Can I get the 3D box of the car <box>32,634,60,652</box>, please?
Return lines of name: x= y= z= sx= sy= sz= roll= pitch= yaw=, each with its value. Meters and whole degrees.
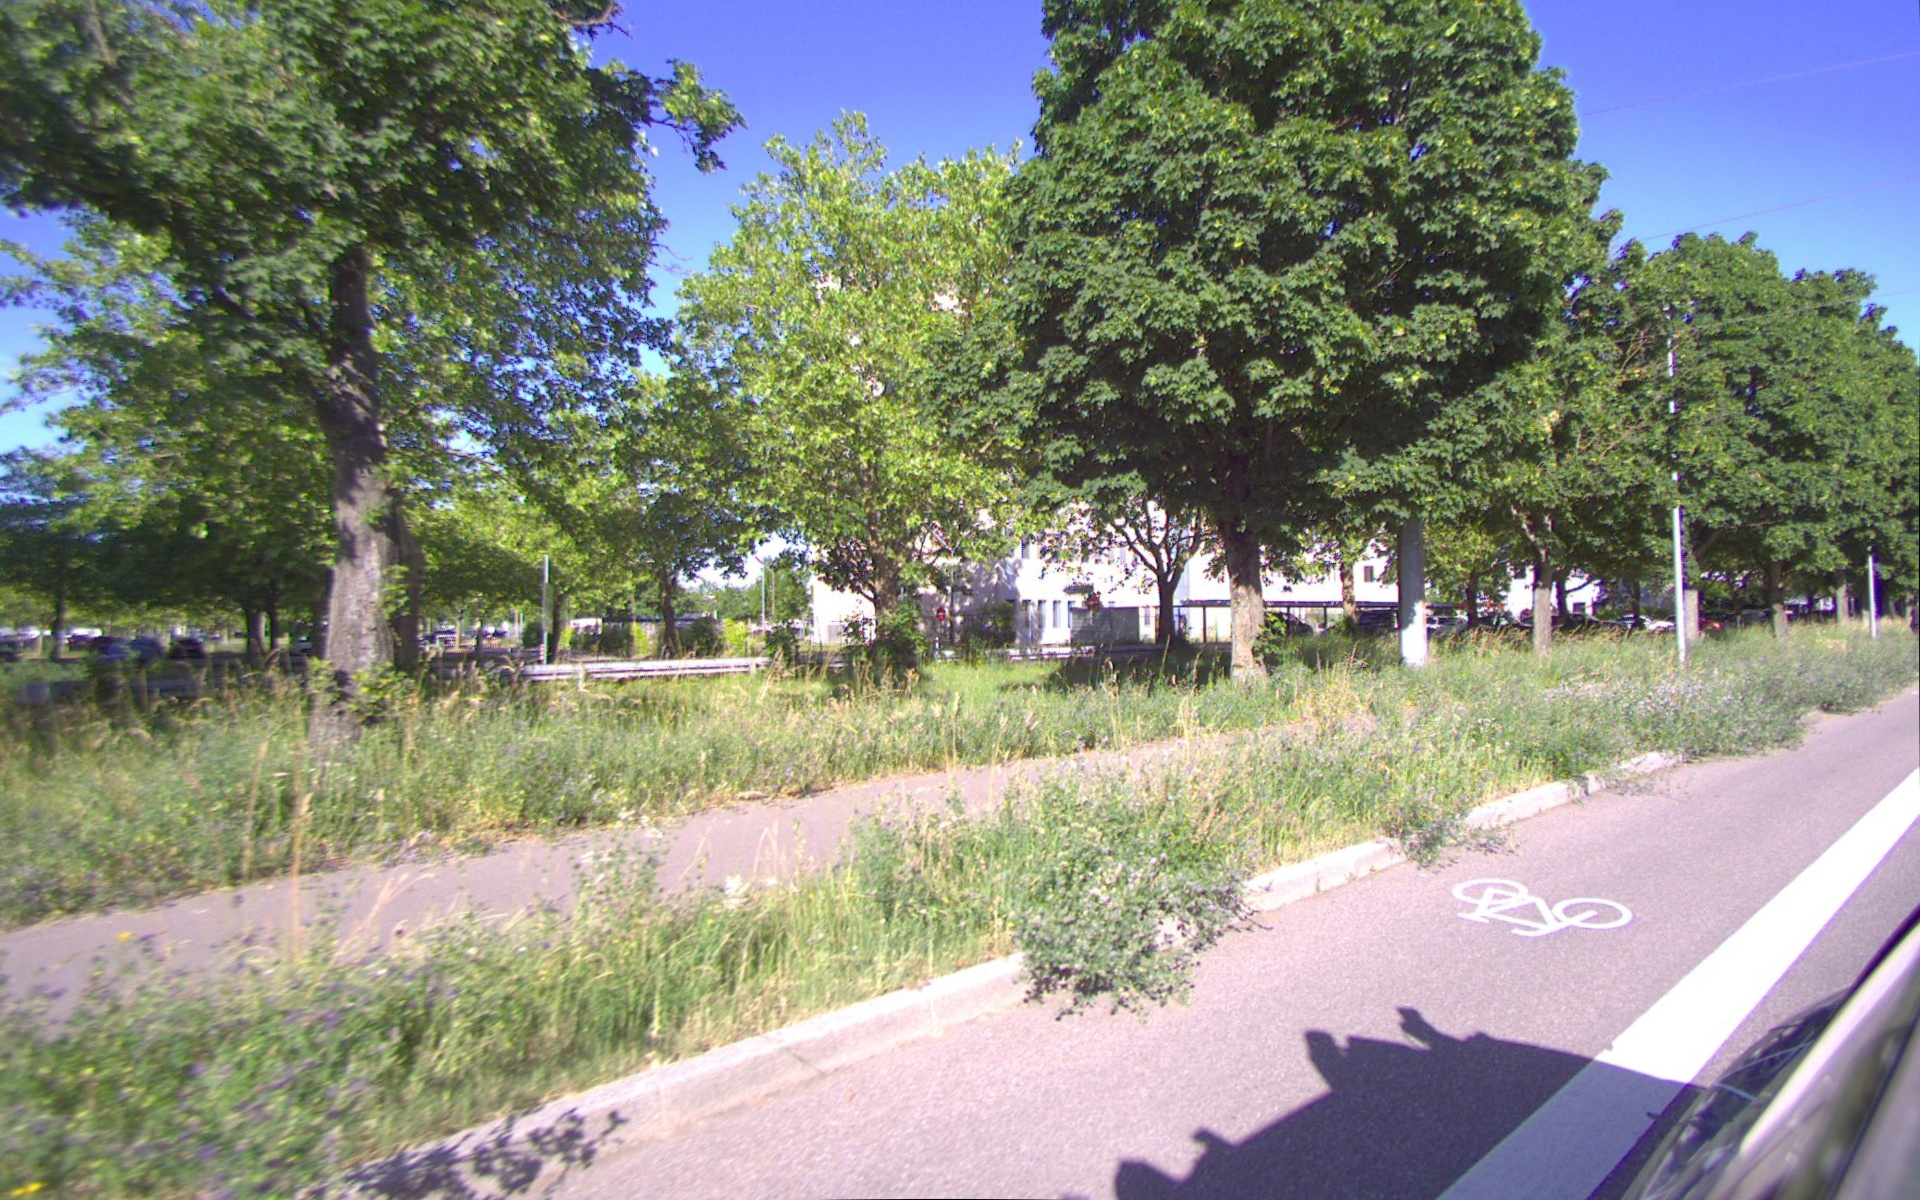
car: x=-82.090 y=3.855 z=90.929 sx=1.800 sy=1.481 sz=4.223 roll=0 pitch=-2 yaw=-41

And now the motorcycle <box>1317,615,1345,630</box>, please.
motorcycle: x=24.280 y=1.459 z=66.271 sx=0.528 sy=0.983 sz=1.652 roll=0 pitch=-1 yaw=-39

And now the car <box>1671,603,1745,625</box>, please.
car: x=54.979 y=1.024 z=74.458 sx=4.228 sy=1.555 sz=1.739 roll=0 pitch=-1 yaw=43

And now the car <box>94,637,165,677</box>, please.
car: x=-34.482 y=2.326 z=42.111 sx=1.837 sy=1.511 sz=4.000 roll=0 pitch=-2 yaw=-33

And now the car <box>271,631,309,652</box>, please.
car: x=-49.171 y=3.031 z=74.232 sx=1.800 sy=1.481 sz=4.223 roll=0 pitch=-2 yaw=-41

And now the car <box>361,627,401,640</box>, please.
car: x=-72.408 y=4.157 z=126.560 sx=4.158 sy=1.481 sz=1.828 roll=0 pitch=-2 yaw=-42

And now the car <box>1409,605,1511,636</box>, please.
car: x=24.861 y=1.049 z=50.439 sx=1.790 sy=1.450 sz=4.177 roll=0 pitch=-2 yaw=-35

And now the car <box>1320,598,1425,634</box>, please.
car: x=18.385 y=0.712 z=45.258 sx=1.706 sy=1.524 sz=4.040 roll=0 pitch=-1 yaw=-37

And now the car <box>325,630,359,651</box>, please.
car: x=-46.756 y=3.040 z=76.524 sx=1.705 sy=1.511 sz=3.995 roll=0 pitch=-2 yaw=-39

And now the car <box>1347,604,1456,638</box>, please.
car: x=20.114 y=0.956 z=46.281 sx=1.657 sy=1.478 sz=4.369 roll=0 pitch=-1 yaw=-35

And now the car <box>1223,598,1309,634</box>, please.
car: x=17.955 y=0.956 z=59.610 sx=1.921 sy=2.039 sz=4.598 roll=0 pitch=-1 yaw=-36

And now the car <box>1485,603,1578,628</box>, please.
car: x=33.120 y=0.903 z=58.769 sx=1.902 sy=1.341 sz=4.307 roll=1 pitch=-1 yaw=-33

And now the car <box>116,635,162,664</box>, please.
car: x=-44.787 y=2.675 z=55.151 sx=1.800 sy=1.481 sz=4.223 roll=0 pitch=-2 yaw=-41

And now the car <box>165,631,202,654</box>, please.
car: x=-53.701 y=2.952 z=69.964 sx=1.800 sy=1.481 sz=4.223 roll=0 pitch=-2 yaw=-41

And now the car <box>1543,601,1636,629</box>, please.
car: x=37.598 y=0.923 z=60.535 sx=1.851 sy=1.617 sz=4.398 roll=0 pitch=-1 yaw=-41

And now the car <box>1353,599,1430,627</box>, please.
car: x=31.020 y=0.952 z=72.797 sx=1.938 sy=1.975 sz=4.759 roll=1 pitch=-1 yaw=-38

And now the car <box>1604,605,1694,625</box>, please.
car: x=46.119 y=1.007 z=67.800 sx=1.775 sy=1.287 sz=4.705 roll=2 pitch=-2 yaw=-40

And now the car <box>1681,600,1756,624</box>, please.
car: x=56.761 y=0.861 z=75.776 sx=4.333 sy=1.722 sz=1.739 roll=0 pitch=-1 yaw=43

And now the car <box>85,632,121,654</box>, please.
car: x=-64.098 y=3.188 z=75.747 sx=1.838 sy=1.511 sz=3.997 roll=0 pitch=-2 yaw=-37

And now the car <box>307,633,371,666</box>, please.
car: x=-28.733 y=2.267 z=46.788 sx=1.800 sy=1.417 sz=4.516 roll=0 pitch=-2 yaw=-41

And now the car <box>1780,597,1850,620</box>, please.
car: x=71.175 y=0.745 z=84.376 sx=1.888 sy=1.774 sz=5.440 roll=-1 pitch=-1 yaw=9

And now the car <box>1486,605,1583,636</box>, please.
car: x=29.747 y=1.044 z=52.476 sx=1.677 sy=1.545 sz=4.000 roll=0 pitch=-1 yaw=-41
